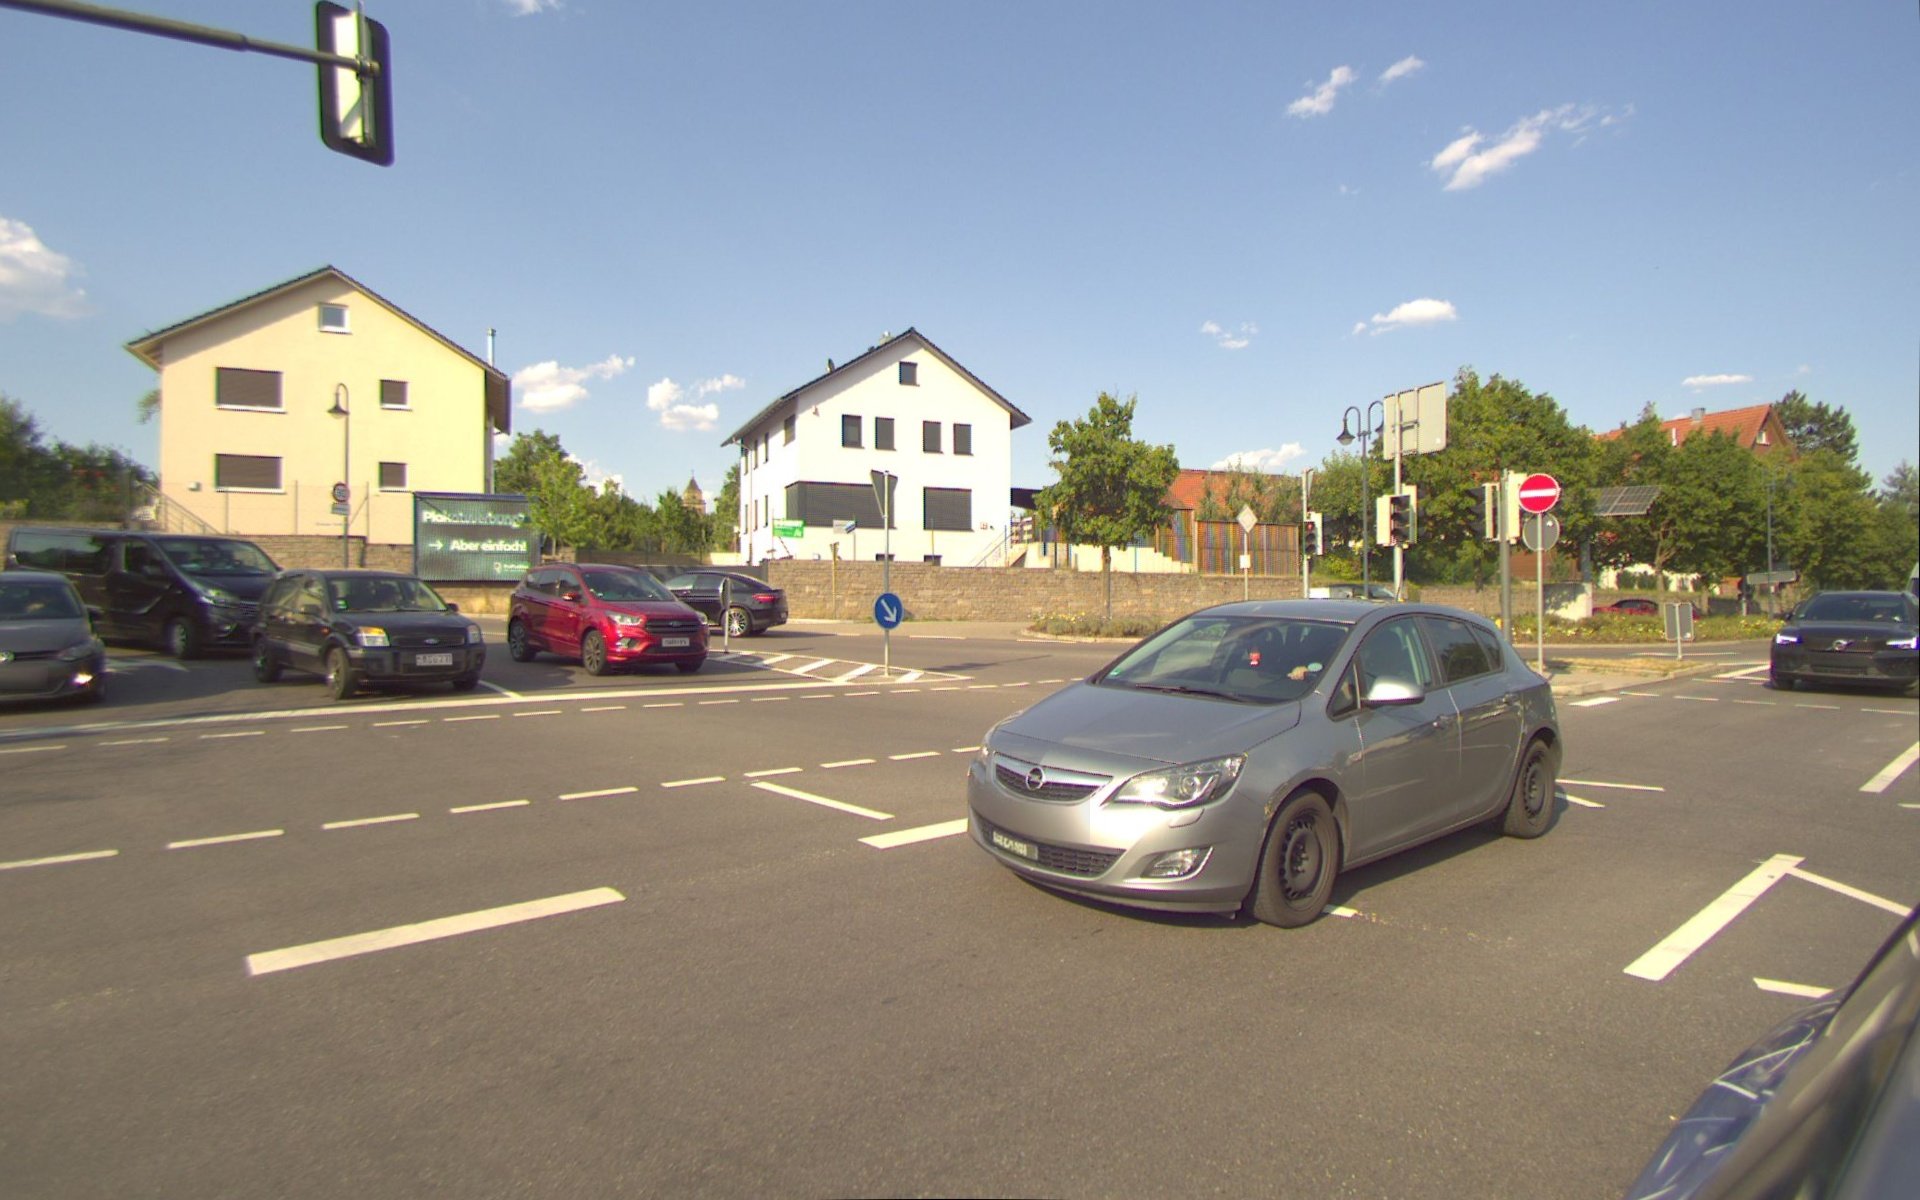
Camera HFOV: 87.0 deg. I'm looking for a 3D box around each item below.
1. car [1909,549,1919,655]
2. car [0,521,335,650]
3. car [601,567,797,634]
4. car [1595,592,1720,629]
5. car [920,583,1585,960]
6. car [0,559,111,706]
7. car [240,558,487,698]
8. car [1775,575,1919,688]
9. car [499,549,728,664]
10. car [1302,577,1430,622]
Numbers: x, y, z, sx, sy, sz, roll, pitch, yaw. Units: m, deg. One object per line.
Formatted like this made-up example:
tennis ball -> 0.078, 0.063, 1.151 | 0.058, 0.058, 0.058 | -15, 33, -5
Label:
car -> 27.252, 0.050, 27.375 | 6.541, 2.691, 2.036 | 0, 1, -45
car -> -13.343, -0.256, 16.966 | 5.106, 1.956, 1.990 | 1, 0, 16
car -> -6.473, 0.005, 25.416 | 4.414, 1.586, 1.843 | 0, 0, 4
car -> 29.251, 0.422, 42.539 | 1.714, 1.449, 4.002 | 1, 0, -32
car -> 1.891, 0.658, 5.809 | 4.069, 1.440, 1.651 | 1, 0, -39
car -> -11.058, 0.280, 11.752 | 1.600, 1.467, 3.602 | -1, 3, -44
car -> -7.807, 0.255, 13.121 | 3.781, 1.561, 1.576 | 2, 1, 40
car -> 14.837, 0.450, 16.442 | 3.985, 1.625, 1.791 | 1, 0, -41
car -> -5.773, 0.071, 16.584 | 4.239, 1.646, 1.832 | 1, 0, 44
car -> 14.182, -0.032, 35.605 | 1.644, 1.474, 4.085 | 1, 0, -28
